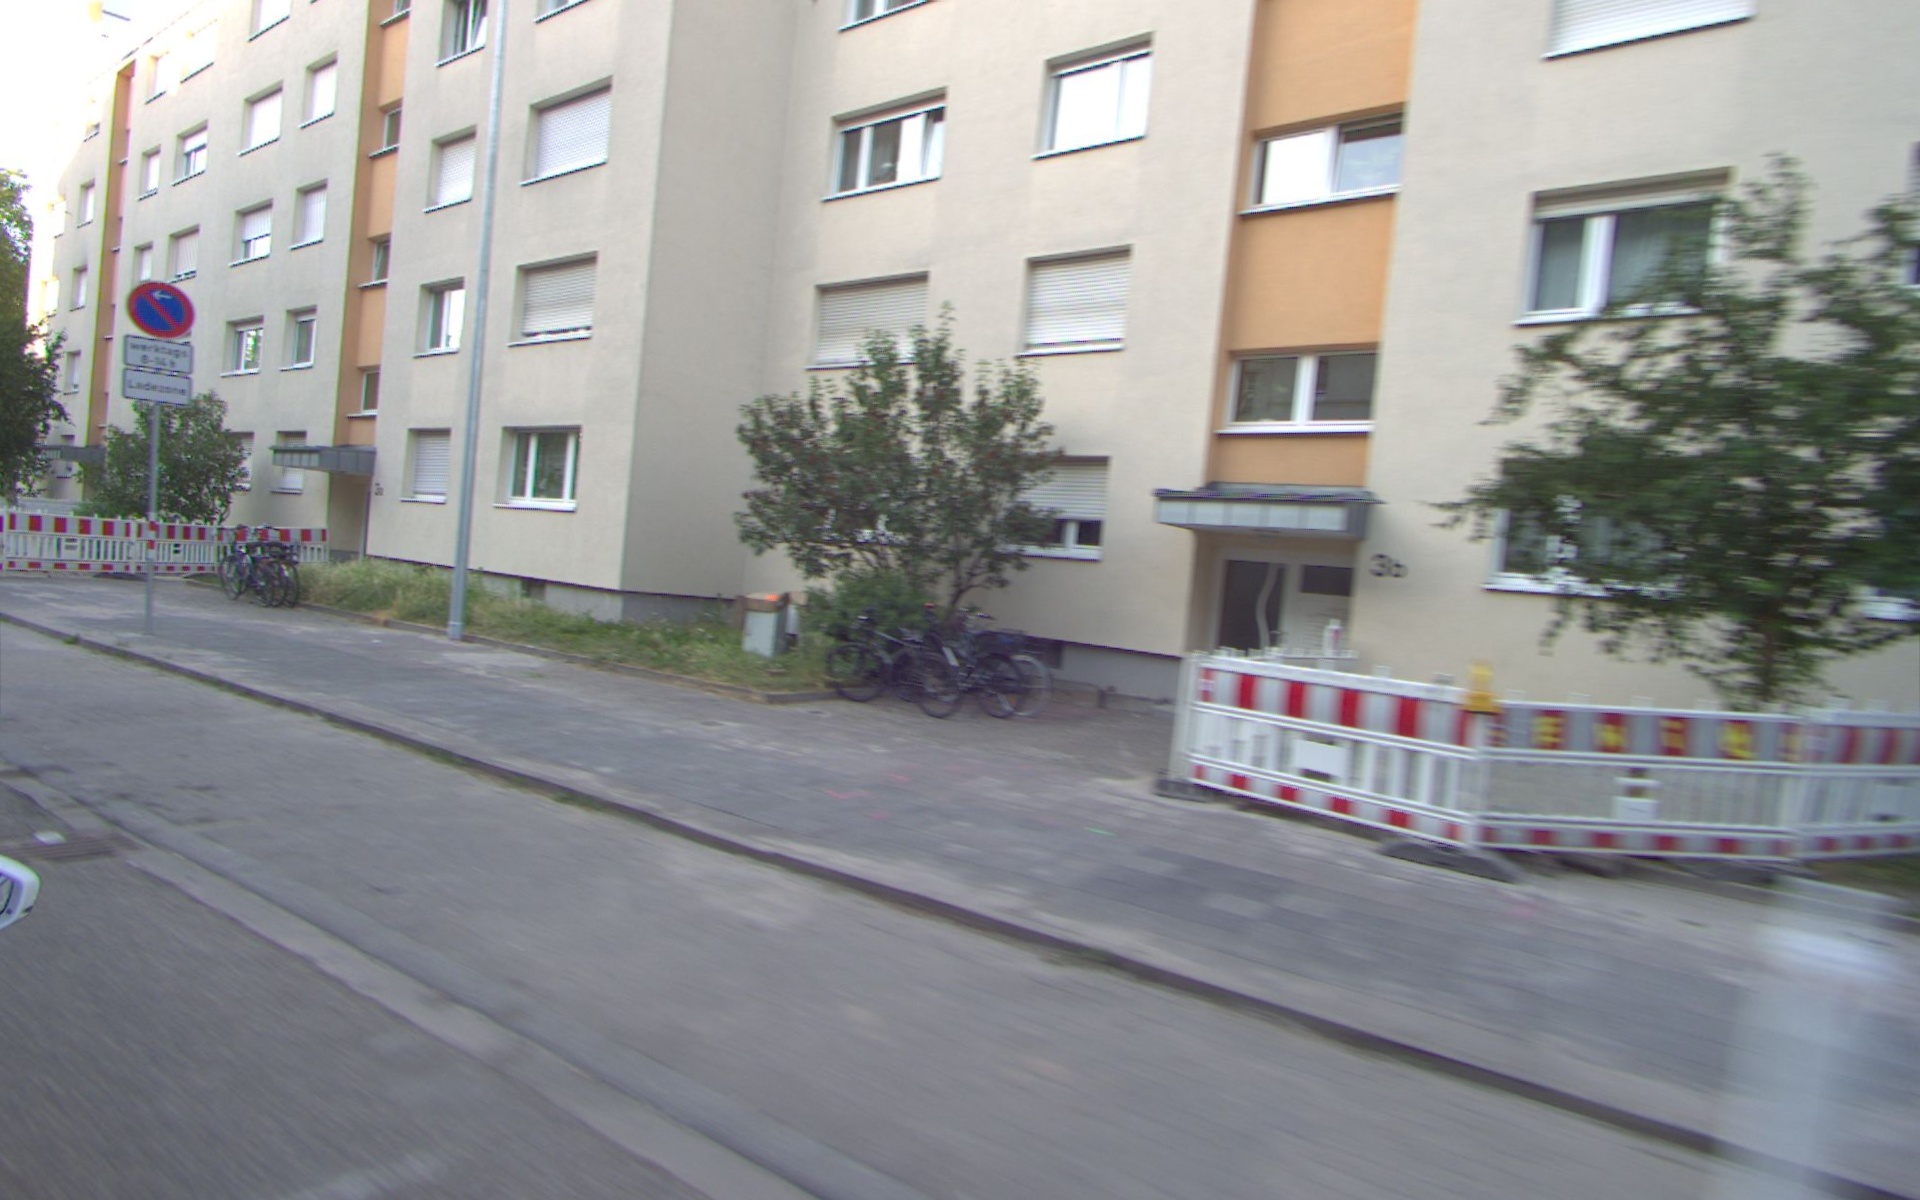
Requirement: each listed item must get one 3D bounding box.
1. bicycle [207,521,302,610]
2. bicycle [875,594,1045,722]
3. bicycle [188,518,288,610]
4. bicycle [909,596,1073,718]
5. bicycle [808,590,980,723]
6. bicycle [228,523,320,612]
[{"bbox_3d":[-11.164,-0.555,15.908,1.879,1.237,0.398,7,1,30],"label":"bicycle"},{"bbox_3d":[-0.023,0.616,11.236,1.788,1.187,0.556,7,1,35],"label":"bicycle"},{"bbox_3d":[-11.232,-0.569,15.626,1.879,1.237,0.452,7,1,30],"label":"bicycle"},{"bbox_3d":[0.333,0.641,11.721,1.788,1.187,0.556,7,1,35],"label":"bicycle"},{"bbox_3d":[-0.736,0.577,10.826,1.788,1.187,0.556,7,1,35],"label":"bicycle"},{"bbox_3d":[-10.978,-0.530,16.086,1.795,1.237,0.398,7,1,30],"label":"bicycle"}]
